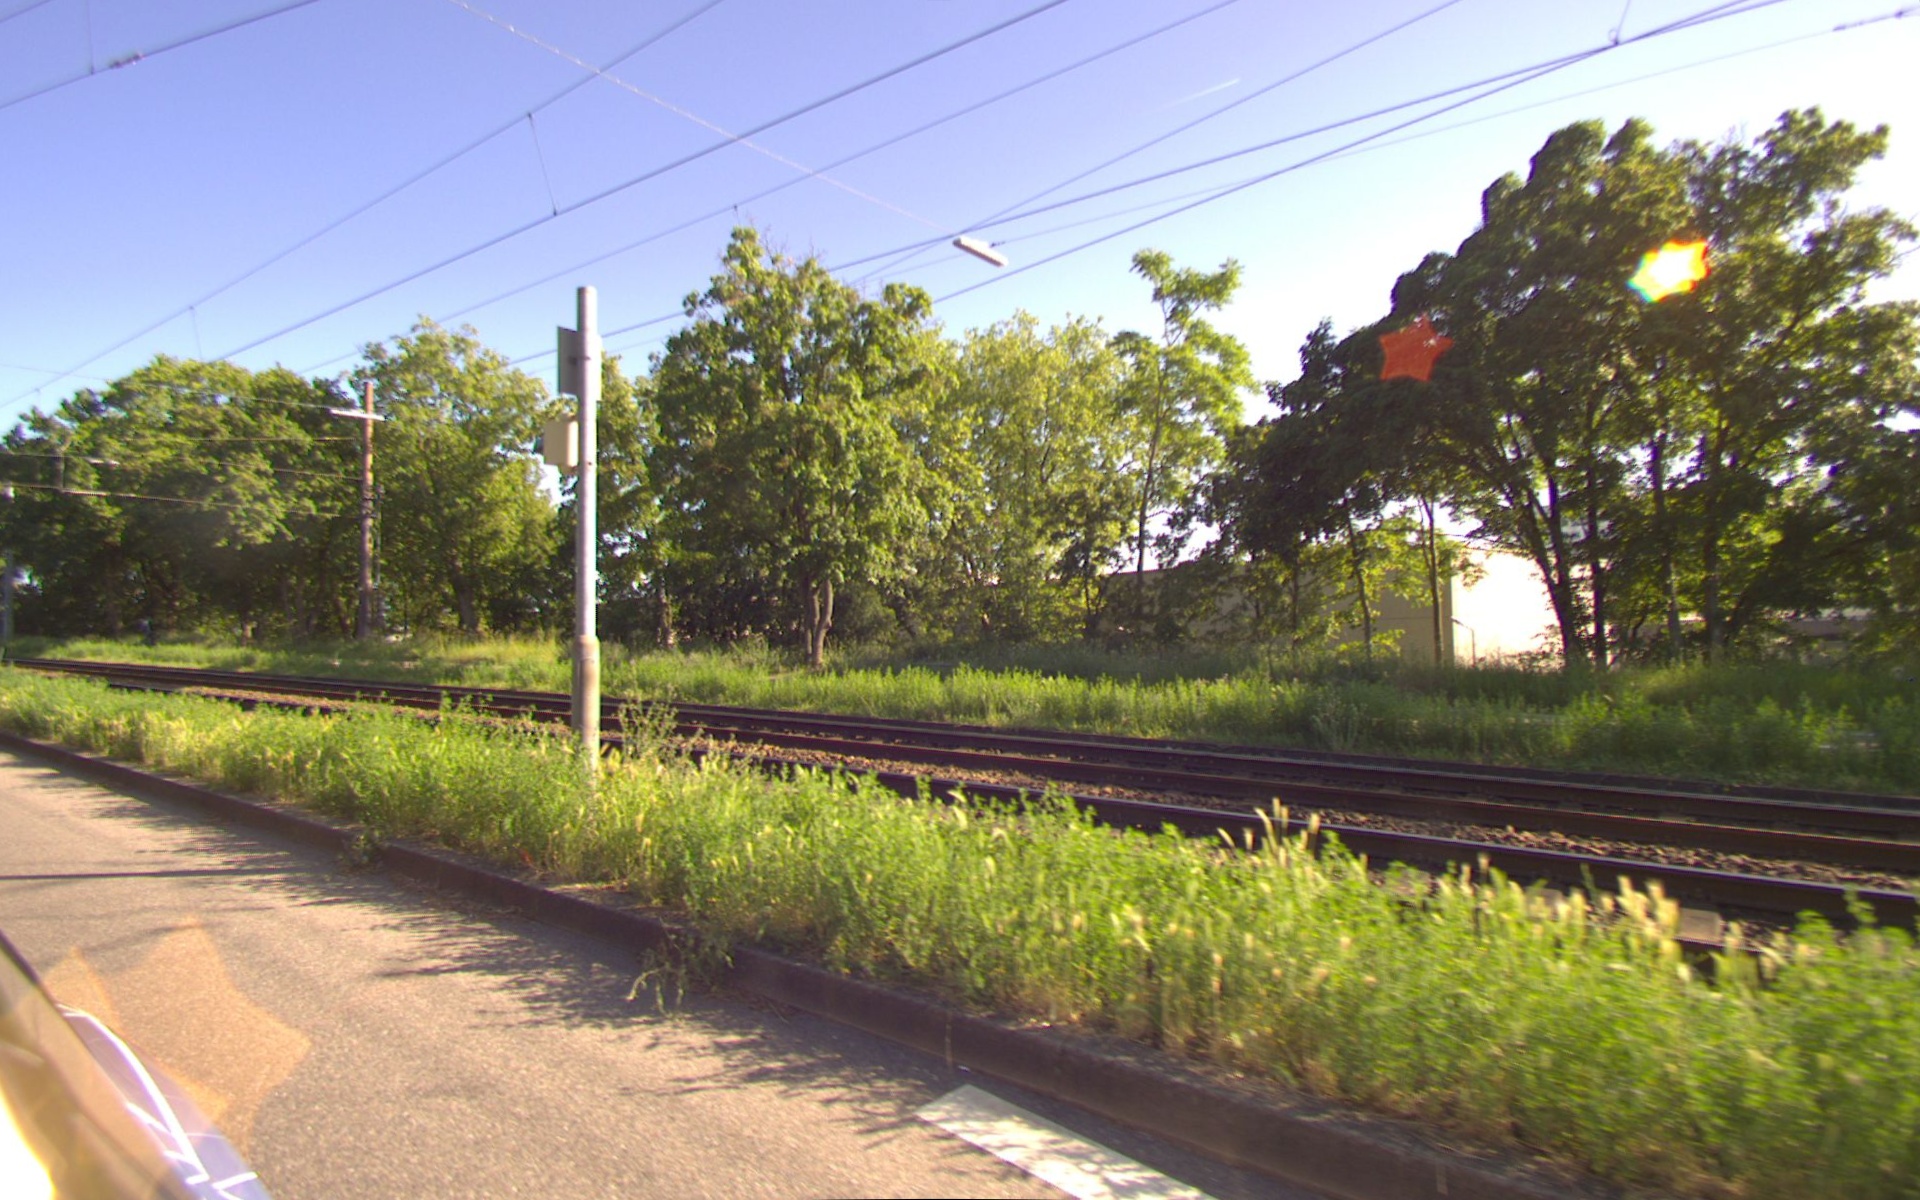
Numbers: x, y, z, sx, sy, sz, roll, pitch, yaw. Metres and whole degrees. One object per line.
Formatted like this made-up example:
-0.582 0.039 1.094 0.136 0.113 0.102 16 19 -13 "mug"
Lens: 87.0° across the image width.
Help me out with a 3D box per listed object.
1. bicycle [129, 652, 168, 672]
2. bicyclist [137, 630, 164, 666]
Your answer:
-39.955 3.050 49.826 2.531 0.921 0.811 -2 -2 35 "bicycle"
-39.808 2.348 49.776 0.900 1.749 0.812 -2 -2 35 "bicyclist"
